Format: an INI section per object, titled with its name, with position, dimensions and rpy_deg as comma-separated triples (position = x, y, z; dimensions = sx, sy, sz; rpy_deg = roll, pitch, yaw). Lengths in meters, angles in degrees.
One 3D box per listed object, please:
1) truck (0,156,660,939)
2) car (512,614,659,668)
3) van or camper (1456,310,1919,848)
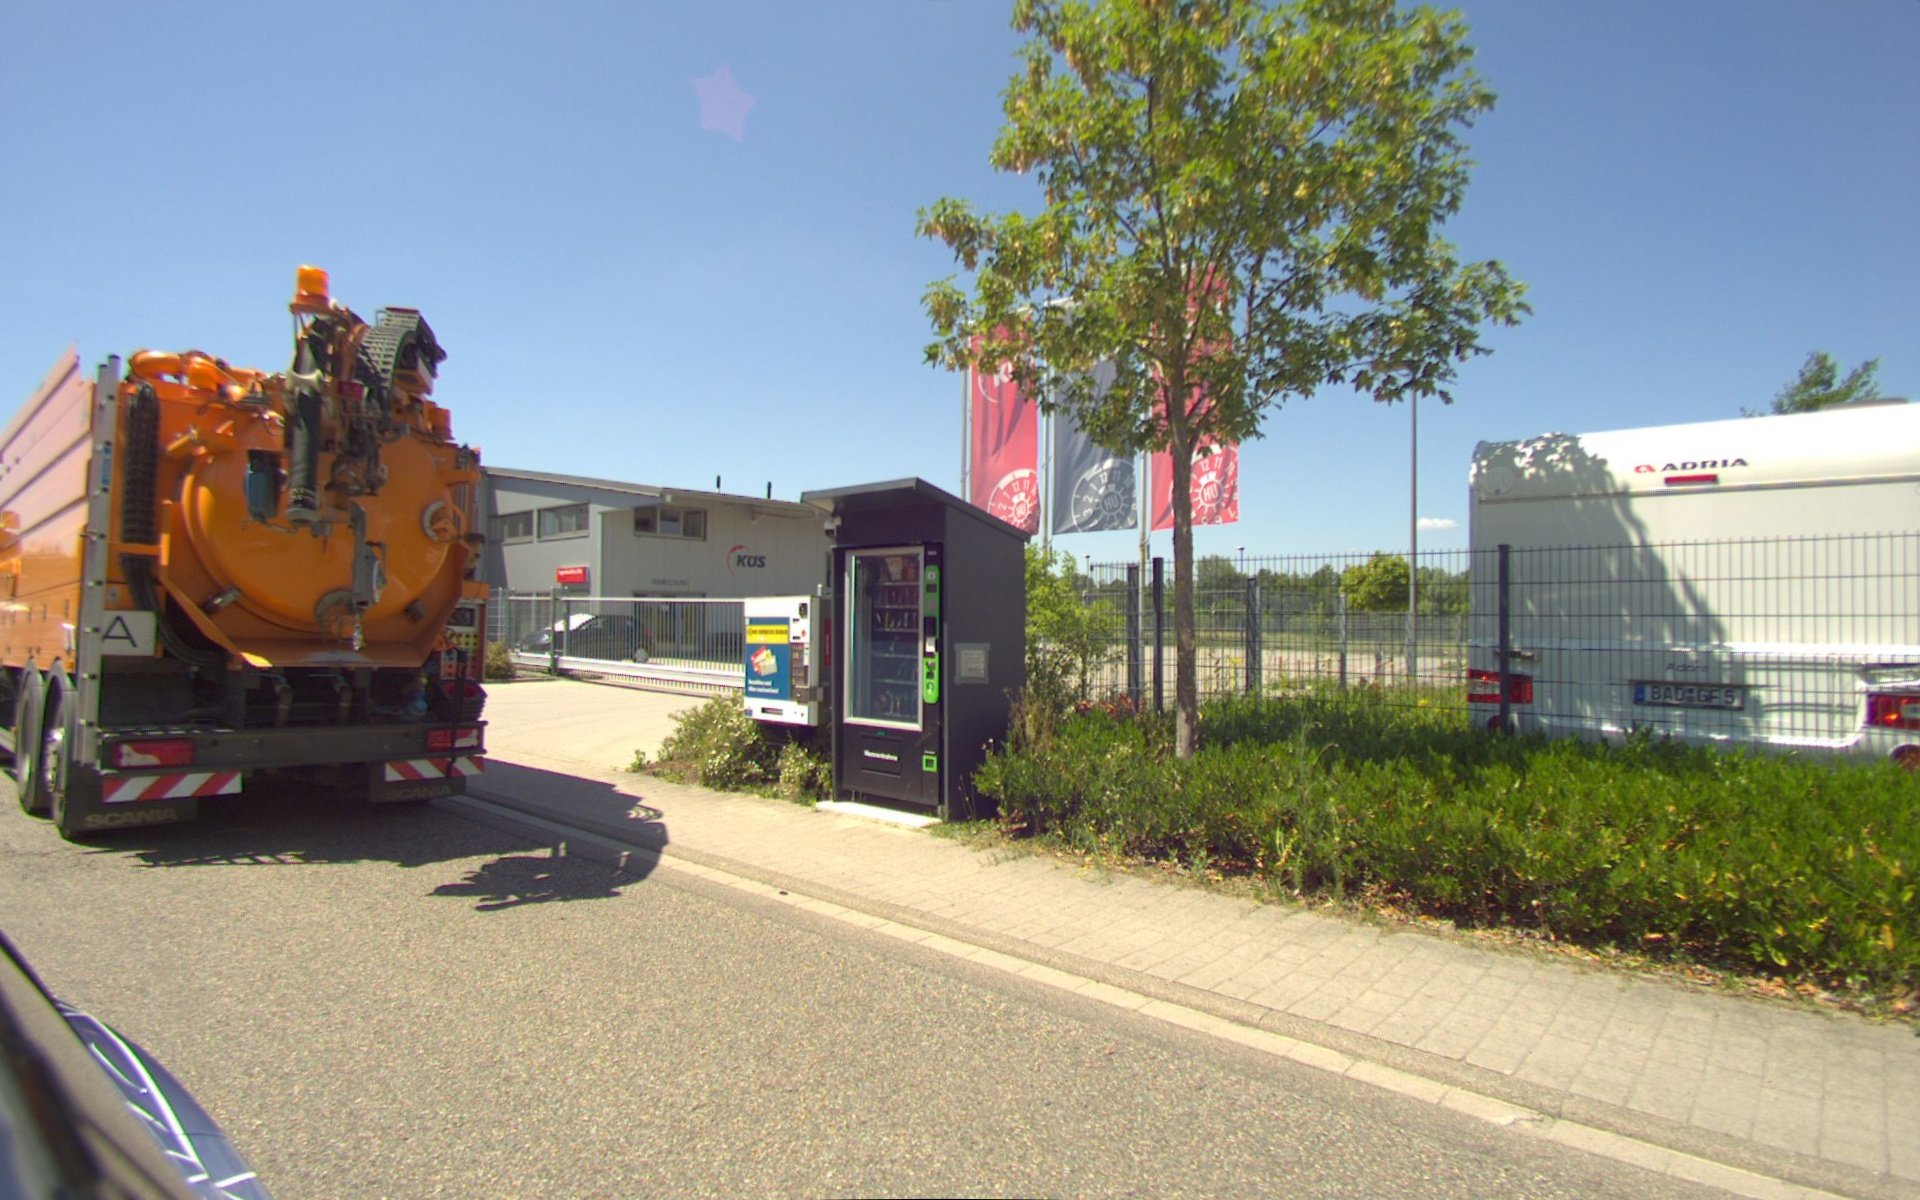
[truck]
position = -6.775, -0.145, 9.043
dimensions = 10.495, 3.572, 2.572
rpy_deg = -1, -3, 41
[car]
position = -10.794, 1.166, 29.372
dimensions = 1.581, 1.453, 3.701
rpy_deg = -1, -2, 39
[van or camper]
position = 6.425, -0.026, 8.179
dimensions = 2.575, 2.704, 6.703
rpy_deg = -1, -2, 42
